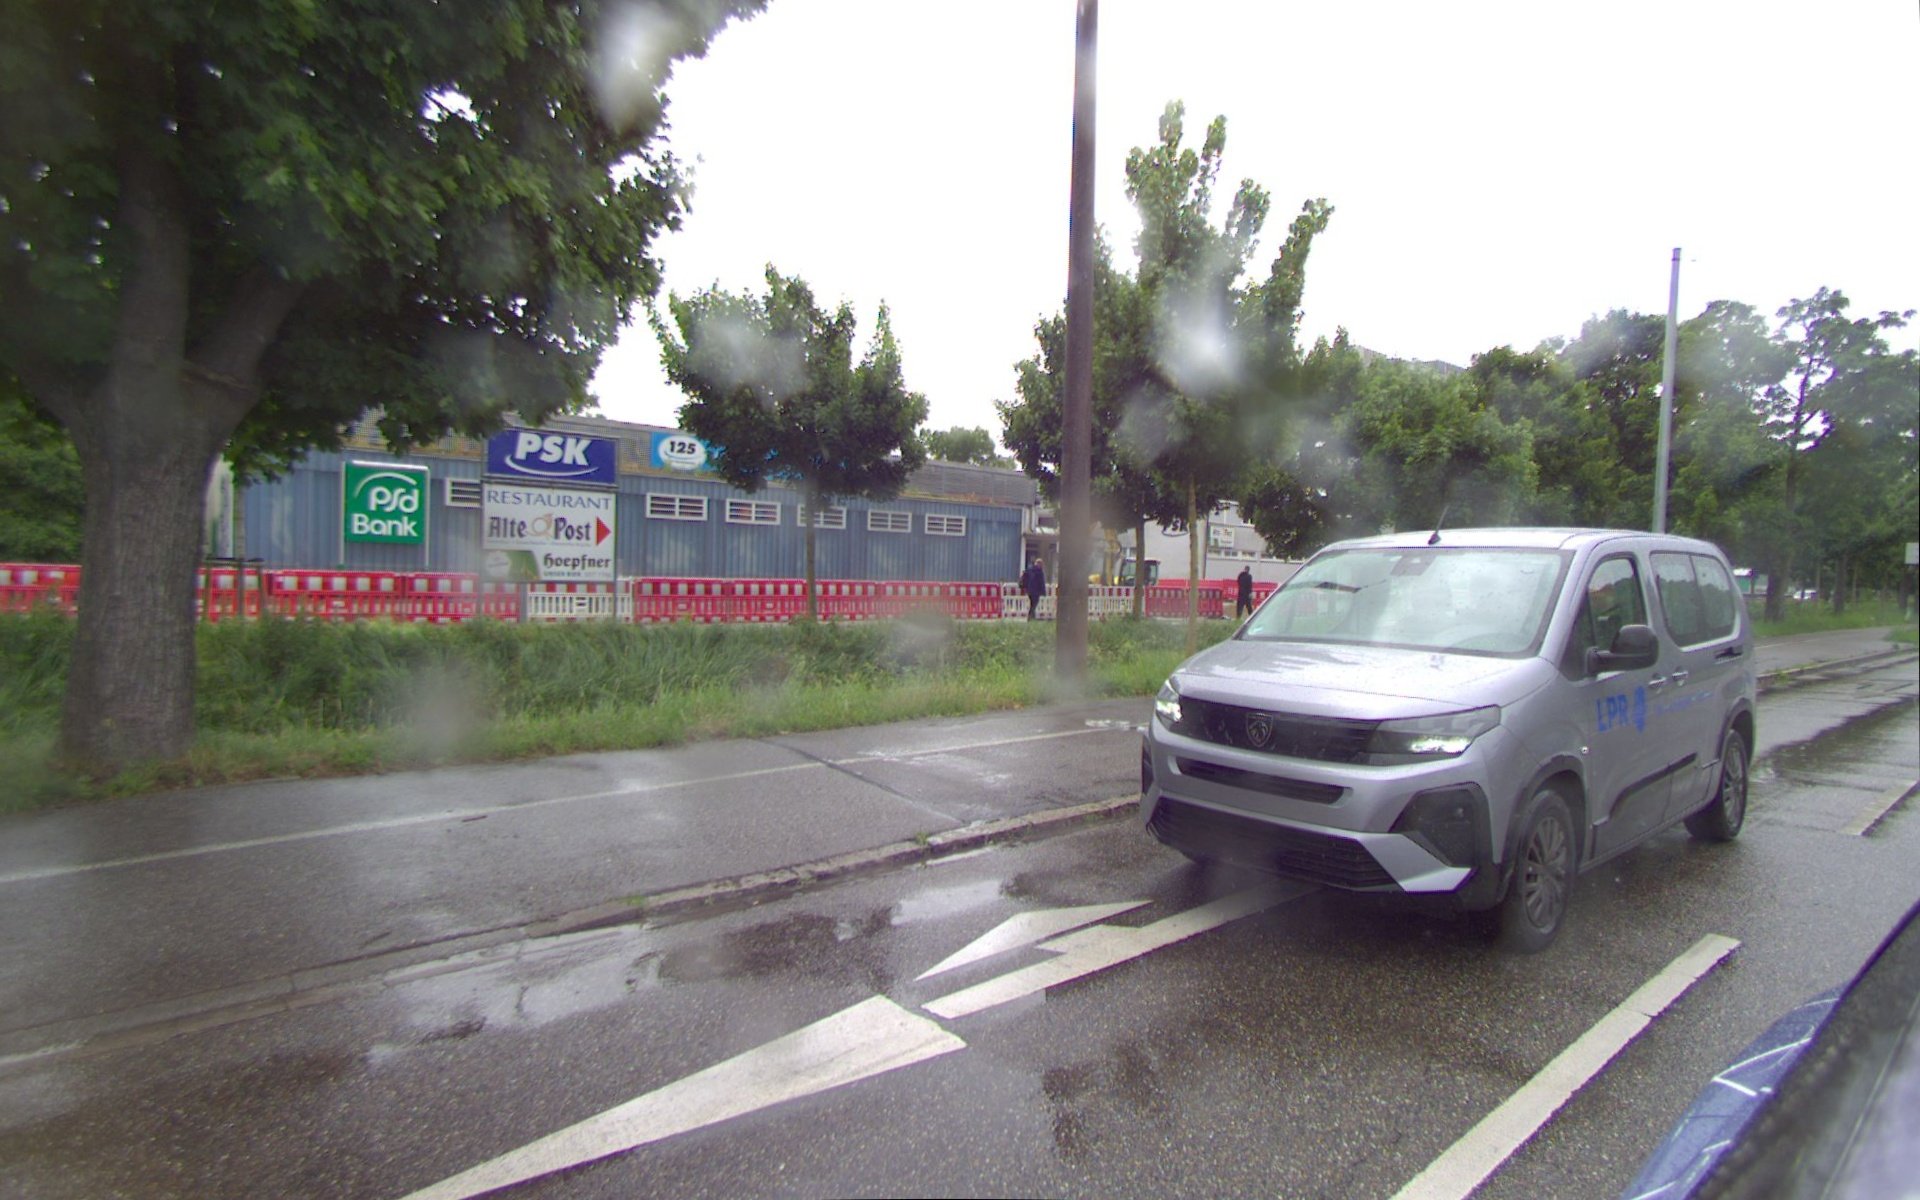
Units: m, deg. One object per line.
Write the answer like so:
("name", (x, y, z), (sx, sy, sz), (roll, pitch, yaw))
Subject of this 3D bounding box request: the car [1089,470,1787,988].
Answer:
("car", (2.979, 0.417, 5.787), (4.483, 1.818, 1.997), (-1, 1, -41))

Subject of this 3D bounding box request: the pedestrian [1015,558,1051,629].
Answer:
("pedestrian", (2.024, -0.185, 28.027), (0.861, 1.920, 0.580), (0, 0, -41))

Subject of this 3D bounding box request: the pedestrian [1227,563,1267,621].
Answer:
("pedestrian", (9.843, -0.275, 34.745), (1.192, 1.960, 0.814), (-1, 1, -42))

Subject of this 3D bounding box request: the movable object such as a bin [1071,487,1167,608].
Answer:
("movable object such as a bin", (6.233, -1.983, 39.532), (3.839, 4.482, 1.557), (-1, 1, -39))

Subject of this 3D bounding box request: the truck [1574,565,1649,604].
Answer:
("truck", (51.794, -1.213, 80.403), (8.599, 2.935, 2.808), (-1, 1, -42))
